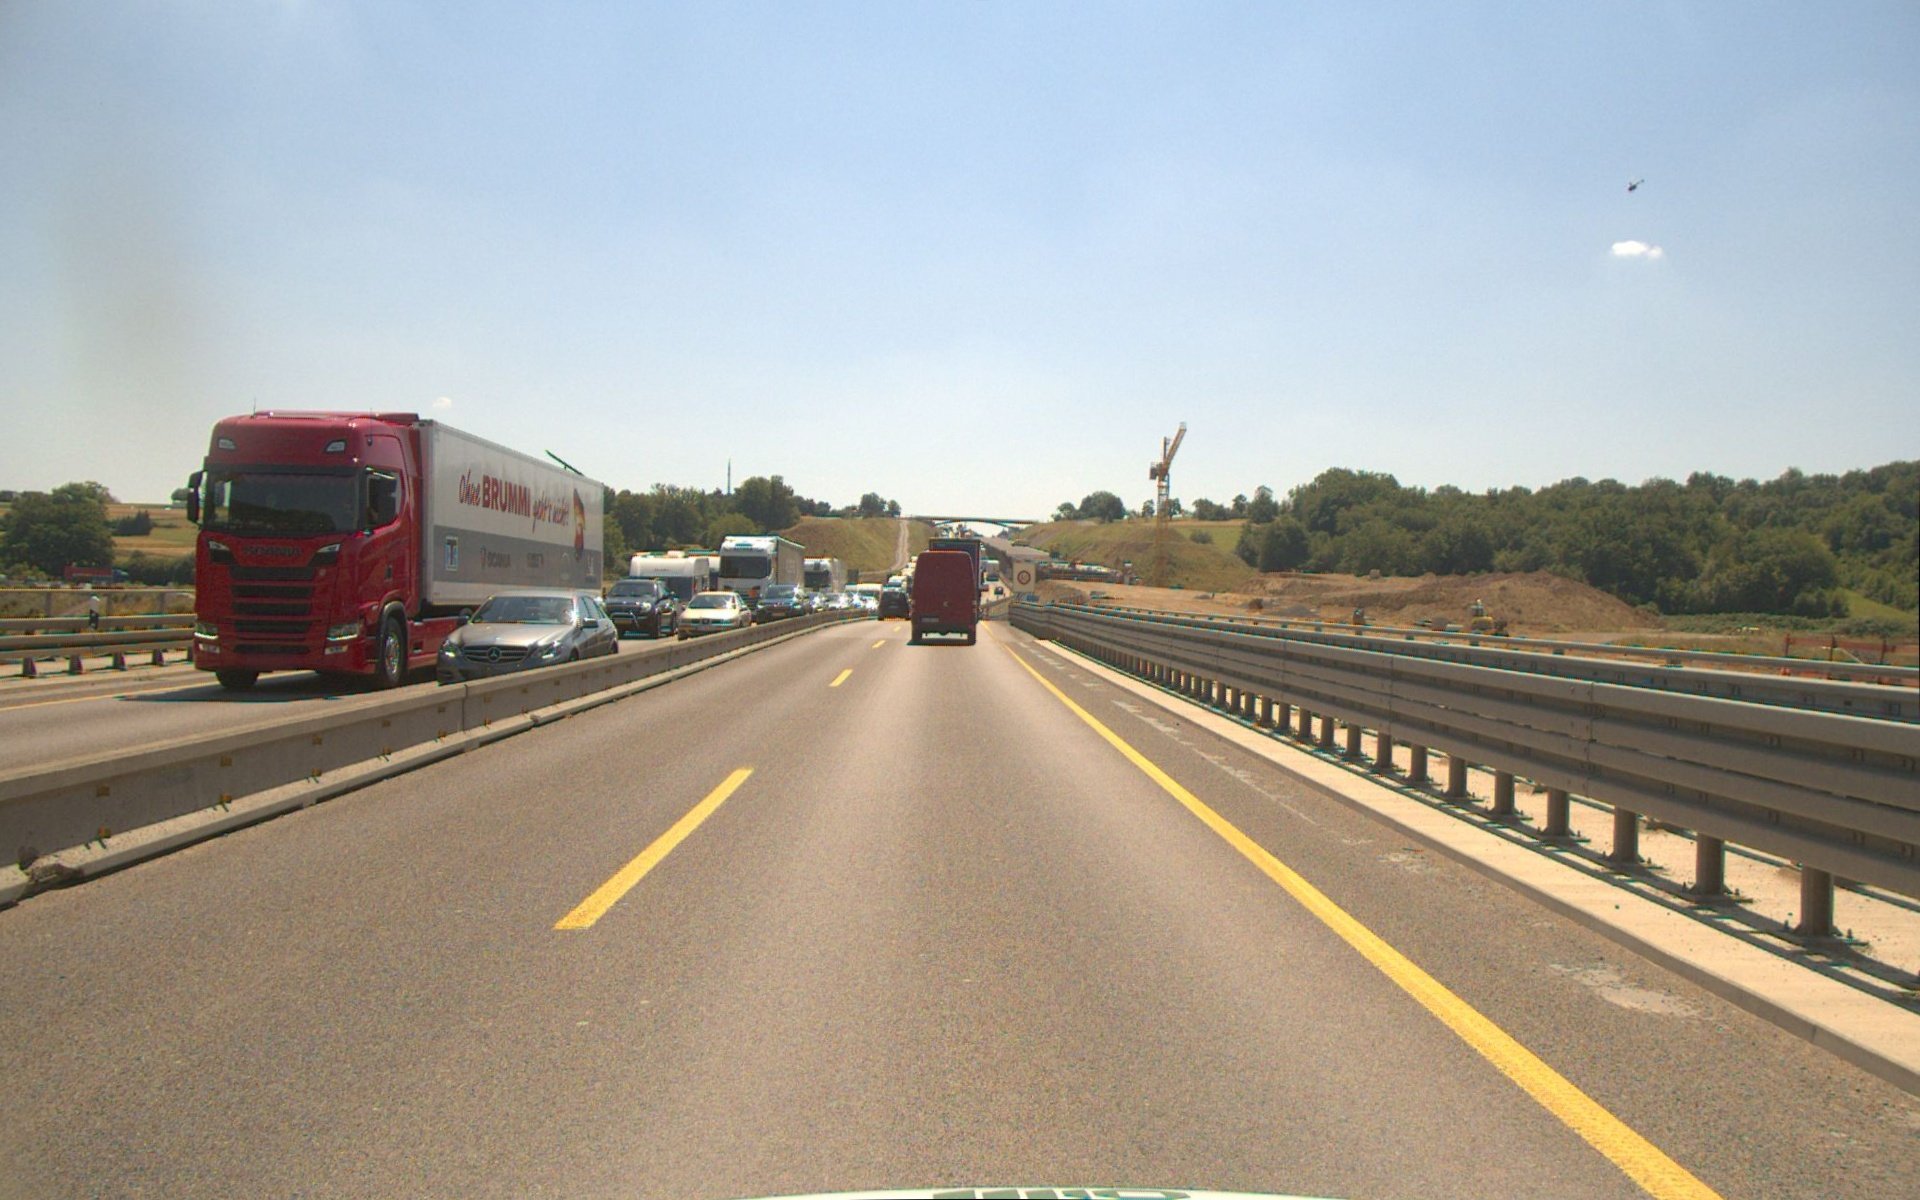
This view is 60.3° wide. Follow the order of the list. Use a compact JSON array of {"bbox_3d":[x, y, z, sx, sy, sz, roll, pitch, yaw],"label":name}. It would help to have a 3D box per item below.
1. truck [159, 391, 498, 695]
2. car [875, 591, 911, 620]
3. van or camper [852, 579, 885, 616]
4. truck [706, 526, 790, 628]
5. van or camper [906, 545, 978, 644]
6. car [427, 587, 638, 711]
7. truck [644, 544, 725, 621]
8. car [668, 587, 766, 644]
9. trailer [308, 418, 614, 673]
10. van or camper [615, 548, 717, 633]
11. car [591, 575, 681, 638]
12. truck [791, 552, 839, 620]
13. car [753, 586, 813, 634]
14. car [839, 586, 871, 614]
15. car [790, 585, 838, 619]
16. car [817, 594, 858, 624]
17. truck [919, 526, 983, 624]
[{"bbox_3d":[-9.532,-0.823,25.845,2.758,4.108,6.522,1,1,0],"label":"truck"},{"bbox_3d":[-3.731,0.304,92.763,1.971,1.572,4.131,1,0,-2],"label":"car"},{"bbox_3d":[-6.691,-0.230,121.541,2.174,2.555,6.531,3,1,-2],"label":"van or camper"},{"bbox_3d":[-10.056,-1.063,79.194,3.014,4.616,7.103,1,0,0],"label":"truck"},{"bbox_3d":[-0.575,-0.178,49.535,1.988,2.792,4.513,1,0,-2],"label":"van or camper"},{"bbox_3d":[-6.144,0.631,24.379,1.852,1.513,4.919,3,1,-1],"label":"car"},{"bbox_3d":[-14.573,-0.936,88.026,2.845,3.830,8.367,2,0,0],"label":"truck"},{"bbox_3d":[-6.787,0.407,46.586,1.861,1.487,4.196,-1,1,4],"label":"car"},{"bbox_3d":[-9.650,-0.997,33.801,2.749,4.249,11.797,1,1,-1],"label":"trailer"},{"bbox_3d":[-9.939,-0.327,56.364,2.452,2.746,5.243,1,0,0],"label":"van or camper"},{"bbox_3d":[-9.675,0.165,49.690,1.731,1.765,4.790,1,0,0],"label":"car"},{"bbox_3d":[-9.893,-0.965,113.339,2.749,4.469,6.225,0,0,0],"label":"truck"},{"bbox_3d":[-6.733,0.352,63.199,1.810,1.717,4.618,2,0,-1],"label":"car"},{"bbox_3d":[-6.577,0.000,104.208,1.721,1.675,4.155,2,0,-1],"label":"car"},{"bbox_3d":[-6.701,0.056,76.265,1.741,1.445,4.538,2,0,0],"label":"car"},{"bbox_3d":[-6.655,0.469,90.214,1.827,1.484,4.607,2,0,0],"label":"car"},{"bbox_3d":[-0.532,-1.230,84.590,2.960,4.775,6.929,-1,0,-2],"label":"truck"}]
